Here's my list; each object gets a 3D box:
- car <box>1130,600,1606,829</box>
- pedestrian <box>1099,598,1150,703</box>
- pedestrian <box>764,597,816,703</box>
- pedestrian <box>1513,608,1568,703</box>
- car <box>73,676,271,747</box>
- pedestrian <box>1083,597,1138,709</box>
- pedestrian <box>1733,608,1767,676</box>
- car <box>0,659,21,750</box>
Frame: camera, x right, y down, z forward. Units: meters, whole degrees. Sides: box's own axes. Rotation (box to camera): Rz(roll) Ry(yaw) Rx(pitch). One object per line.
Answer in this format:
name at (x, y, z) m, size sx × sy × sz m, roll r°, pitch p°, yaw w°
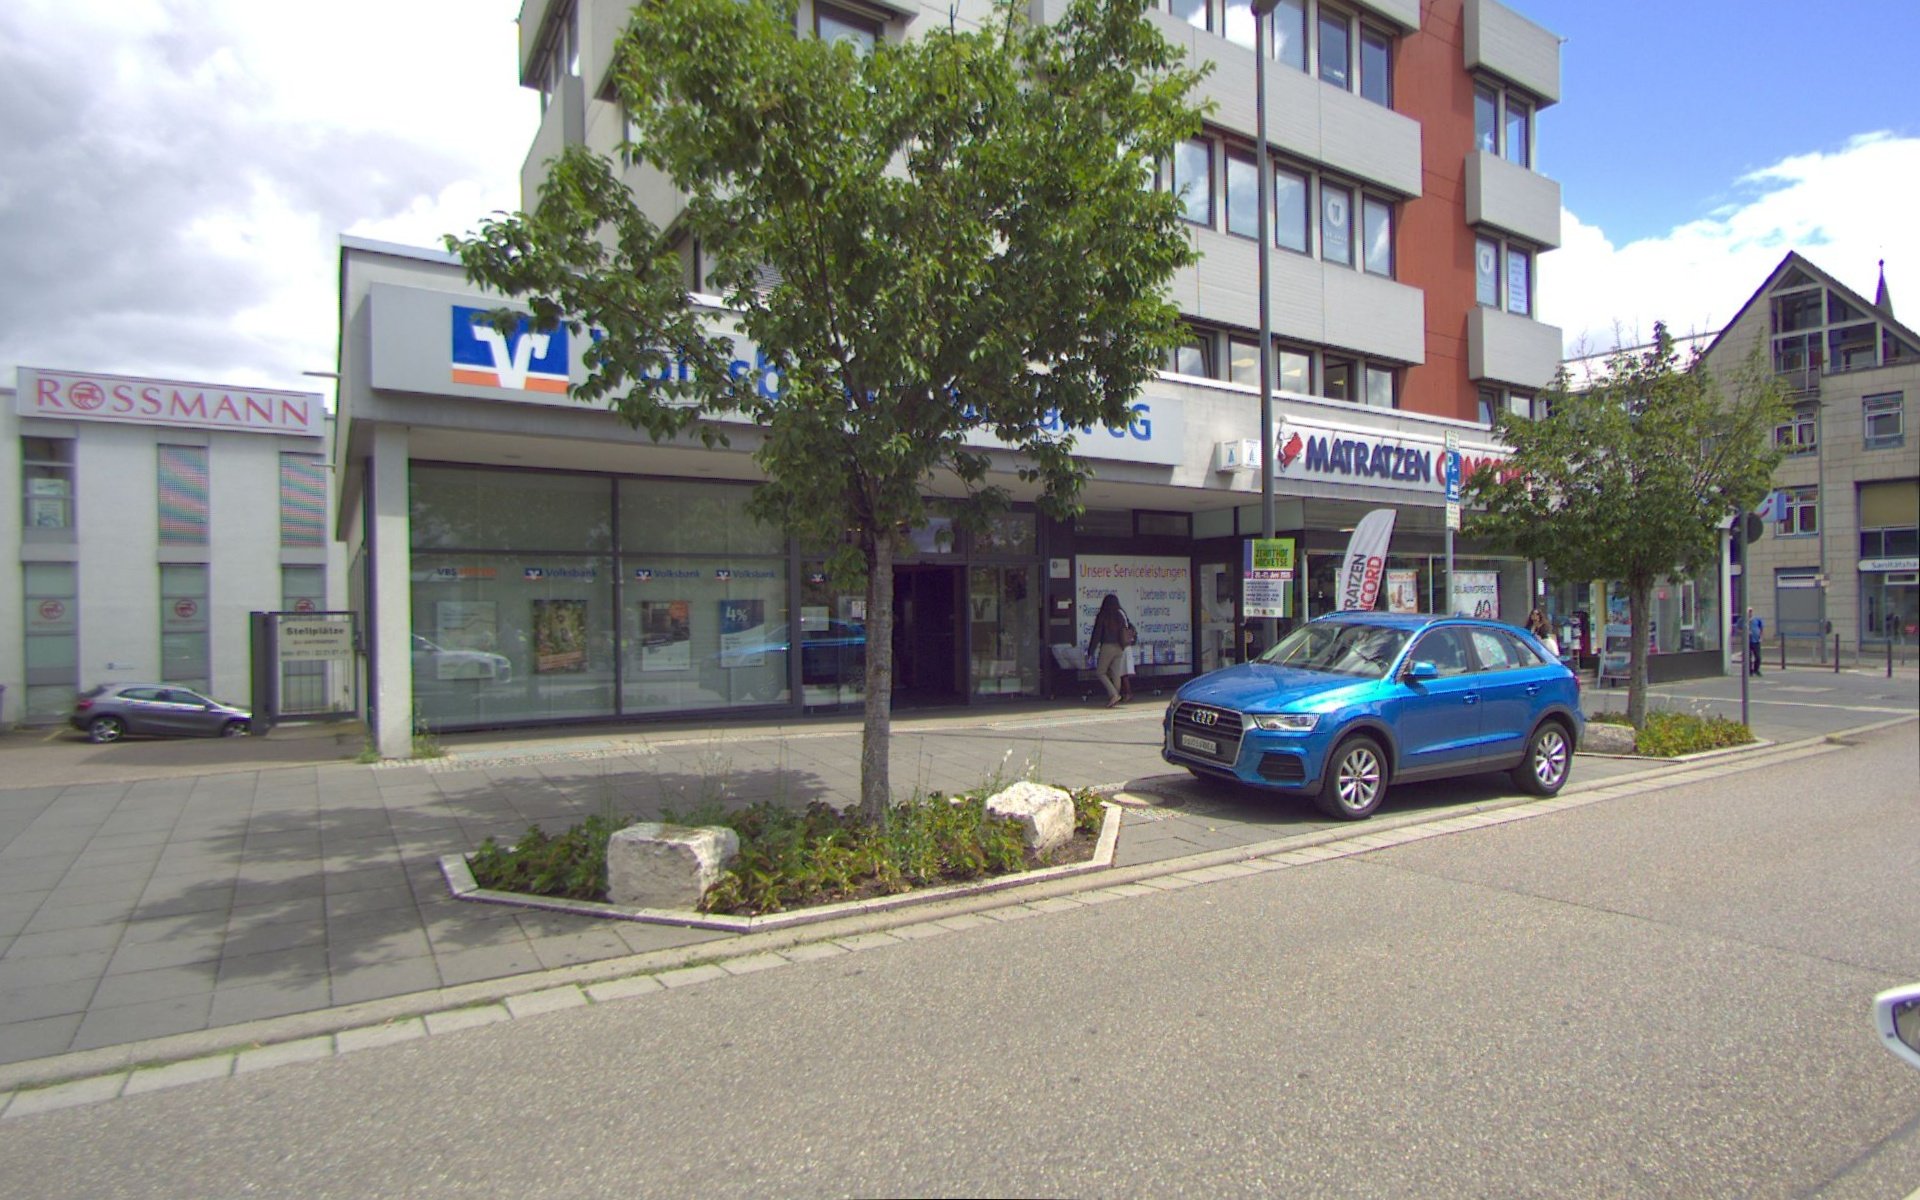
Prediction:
car at (3.776, 0.885, 9.119) m, size 4.280 × 1.621 × 1.686 m, roll 1°, pitch 1°, yaw -30°
pedestrian at (2.547, 0.780, 15.582) m, size 0.580 × 1.587 × 0.507 m, roll 1°, pitch -2°, yaw -31°
pedestrian at (-2.845, 0.826, 16.796) m, size 0.582 × 1.727 × 0.637 m, roll -1°, pitch -1°, yaw -41°
pedestrian at (10.160, 0.960, 17.584) m, size 0.631 × 1.609 × 0.584 m, roll 1°, pitch 0°, yaw -30°
car at (-20.706, 2.965, 26.558) m, size 3.875 × 1.594 × 1.654 m, roll 8°, pitch -6°, yaw -38°
pedestrian at (2.174, 0.765, 14.599) m, size 0.633 × 1.587 × 0.586 m, roll 0°, pitch -2°, yaw -9°
pedestrian at (19.249, 1.010, 24.471) m, size 0.602 × 1.625 × 0.562 m, roll 0°, pitch 0°, yaw -42°
car at (-15.515, 1.632, 14.853) m, size 1.631 × 1.427 × 3.965 m, roll 1°, pitch -2°, yaw -32°
